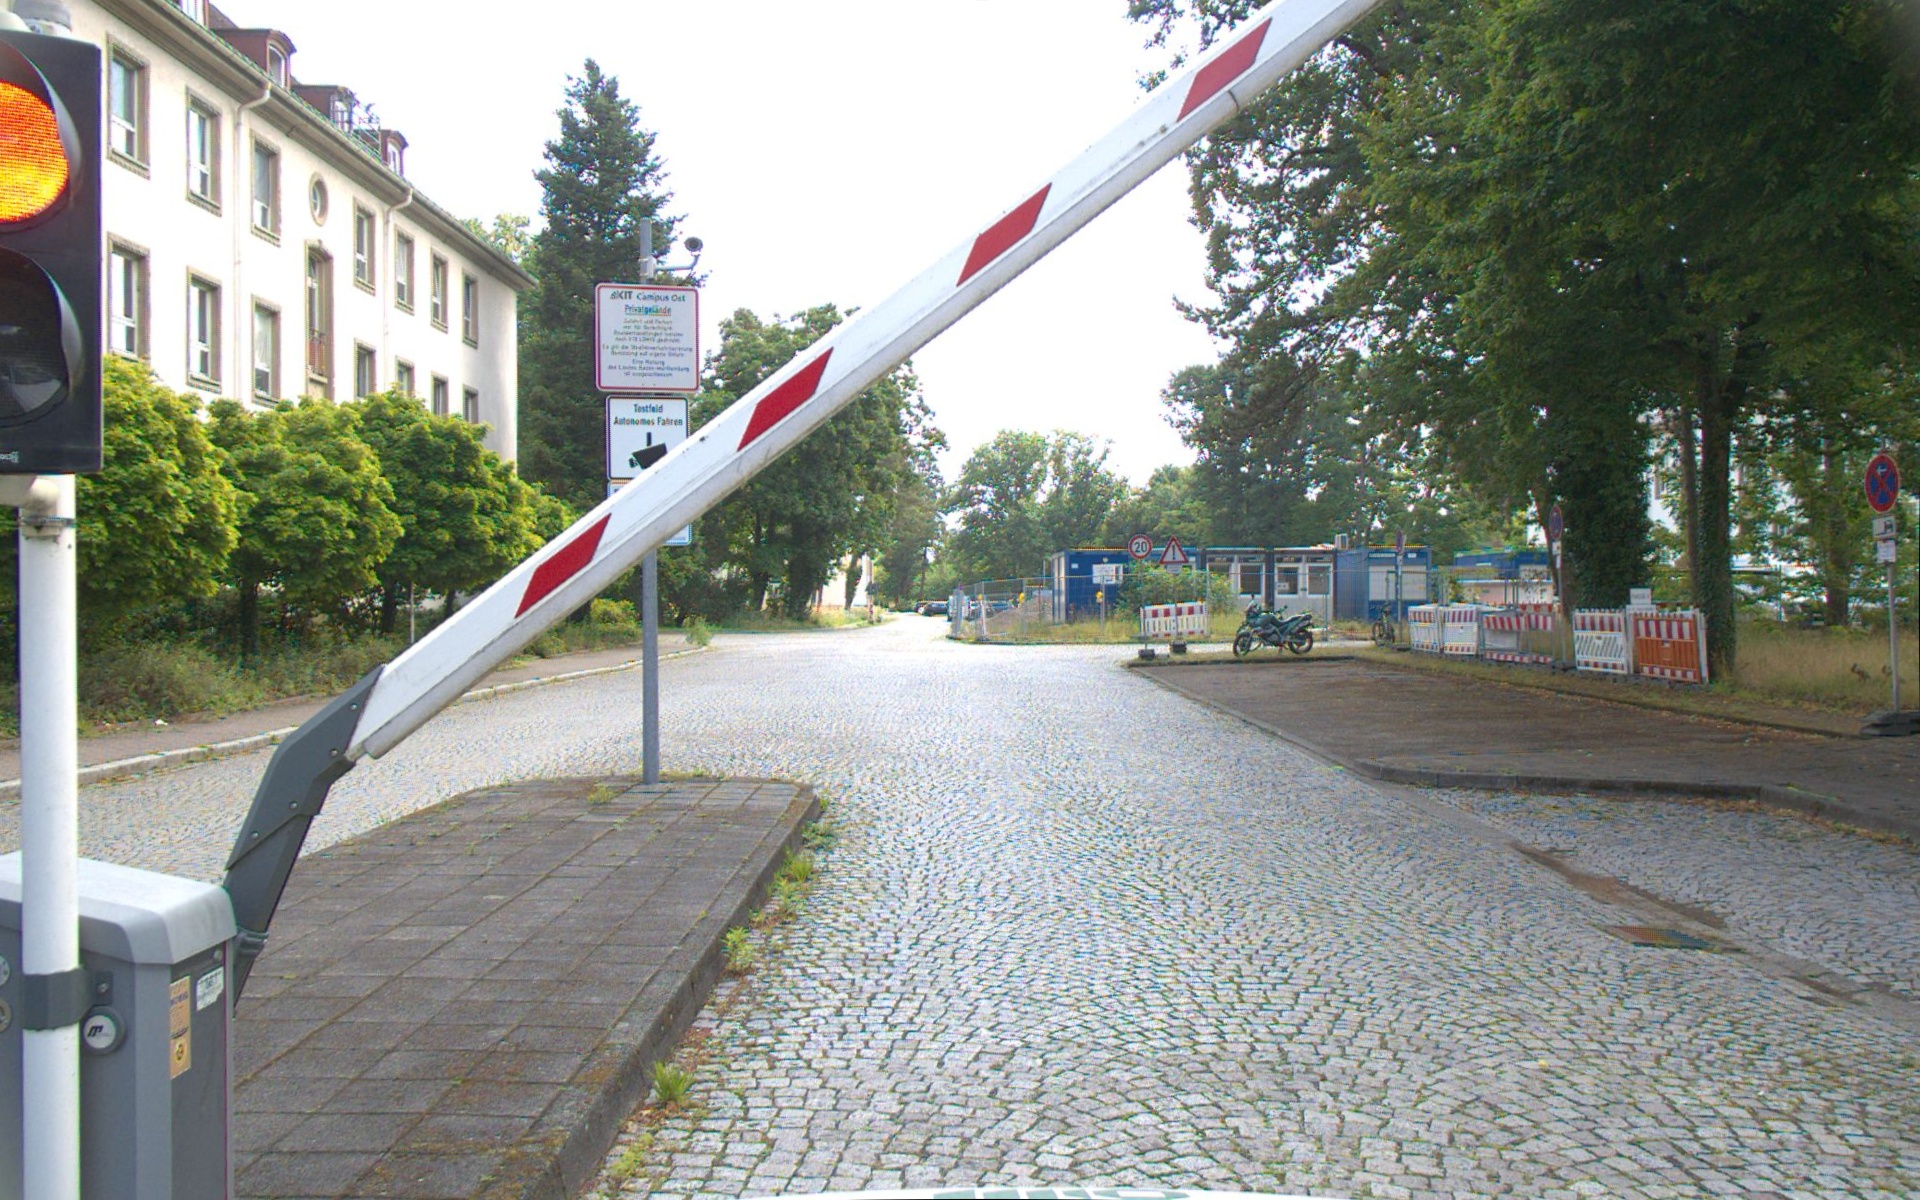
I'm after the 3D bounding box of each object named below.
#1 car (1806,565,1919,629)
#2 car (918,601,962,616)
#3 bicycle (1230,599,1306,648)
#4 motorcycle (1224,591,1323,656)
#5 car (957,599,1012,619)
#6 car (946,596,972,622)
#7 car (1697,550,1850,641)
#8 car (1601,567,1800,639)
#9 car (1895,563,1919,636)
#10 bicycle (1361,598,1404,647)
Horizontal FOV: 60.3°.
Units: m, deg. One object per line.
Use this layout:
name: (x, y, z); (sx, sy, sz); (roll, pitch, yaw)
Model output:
car: (28.073, -0.066, 50.596); (1.952, 1.857, 4.875); (1, 0, 1)
car: (-2.188, 0.947, 181.141); (4.688, 1.669, 1.997); (0, 0, -6)
bicycle: (7.963, 0.604, 42.773); (1.859, 1.218, 0.656); (-1, 0, 19)
motorcycle: (7.624, 0.567, 40.282); (2.232, 1.511, 0.756); (-1, 0, -6)
car: (2.036, 0.766, 136.793); (4.309, 1.537, 2.001); (1, 0, 7)
car: (-0.104, 0.713, 131.375); (1.953, 2.049, 4.089); (0, 0, -2)
car: (24.902, -0.124, 50.907); (1.952, 2.601, 5.911); (1, 0, 2)
car: (20.777, 0.054, 46.533); (4.758, 1.954, 1.907); (0, 1, 0)
car: (26.101, 0.016, 40.988); (1.970, 1.857, 4.832); (1, 0, -27)
bicycle: (10.685, 0.548, 41.838); (0.629, 1.189, 1.905); (-1, 0, 2)
